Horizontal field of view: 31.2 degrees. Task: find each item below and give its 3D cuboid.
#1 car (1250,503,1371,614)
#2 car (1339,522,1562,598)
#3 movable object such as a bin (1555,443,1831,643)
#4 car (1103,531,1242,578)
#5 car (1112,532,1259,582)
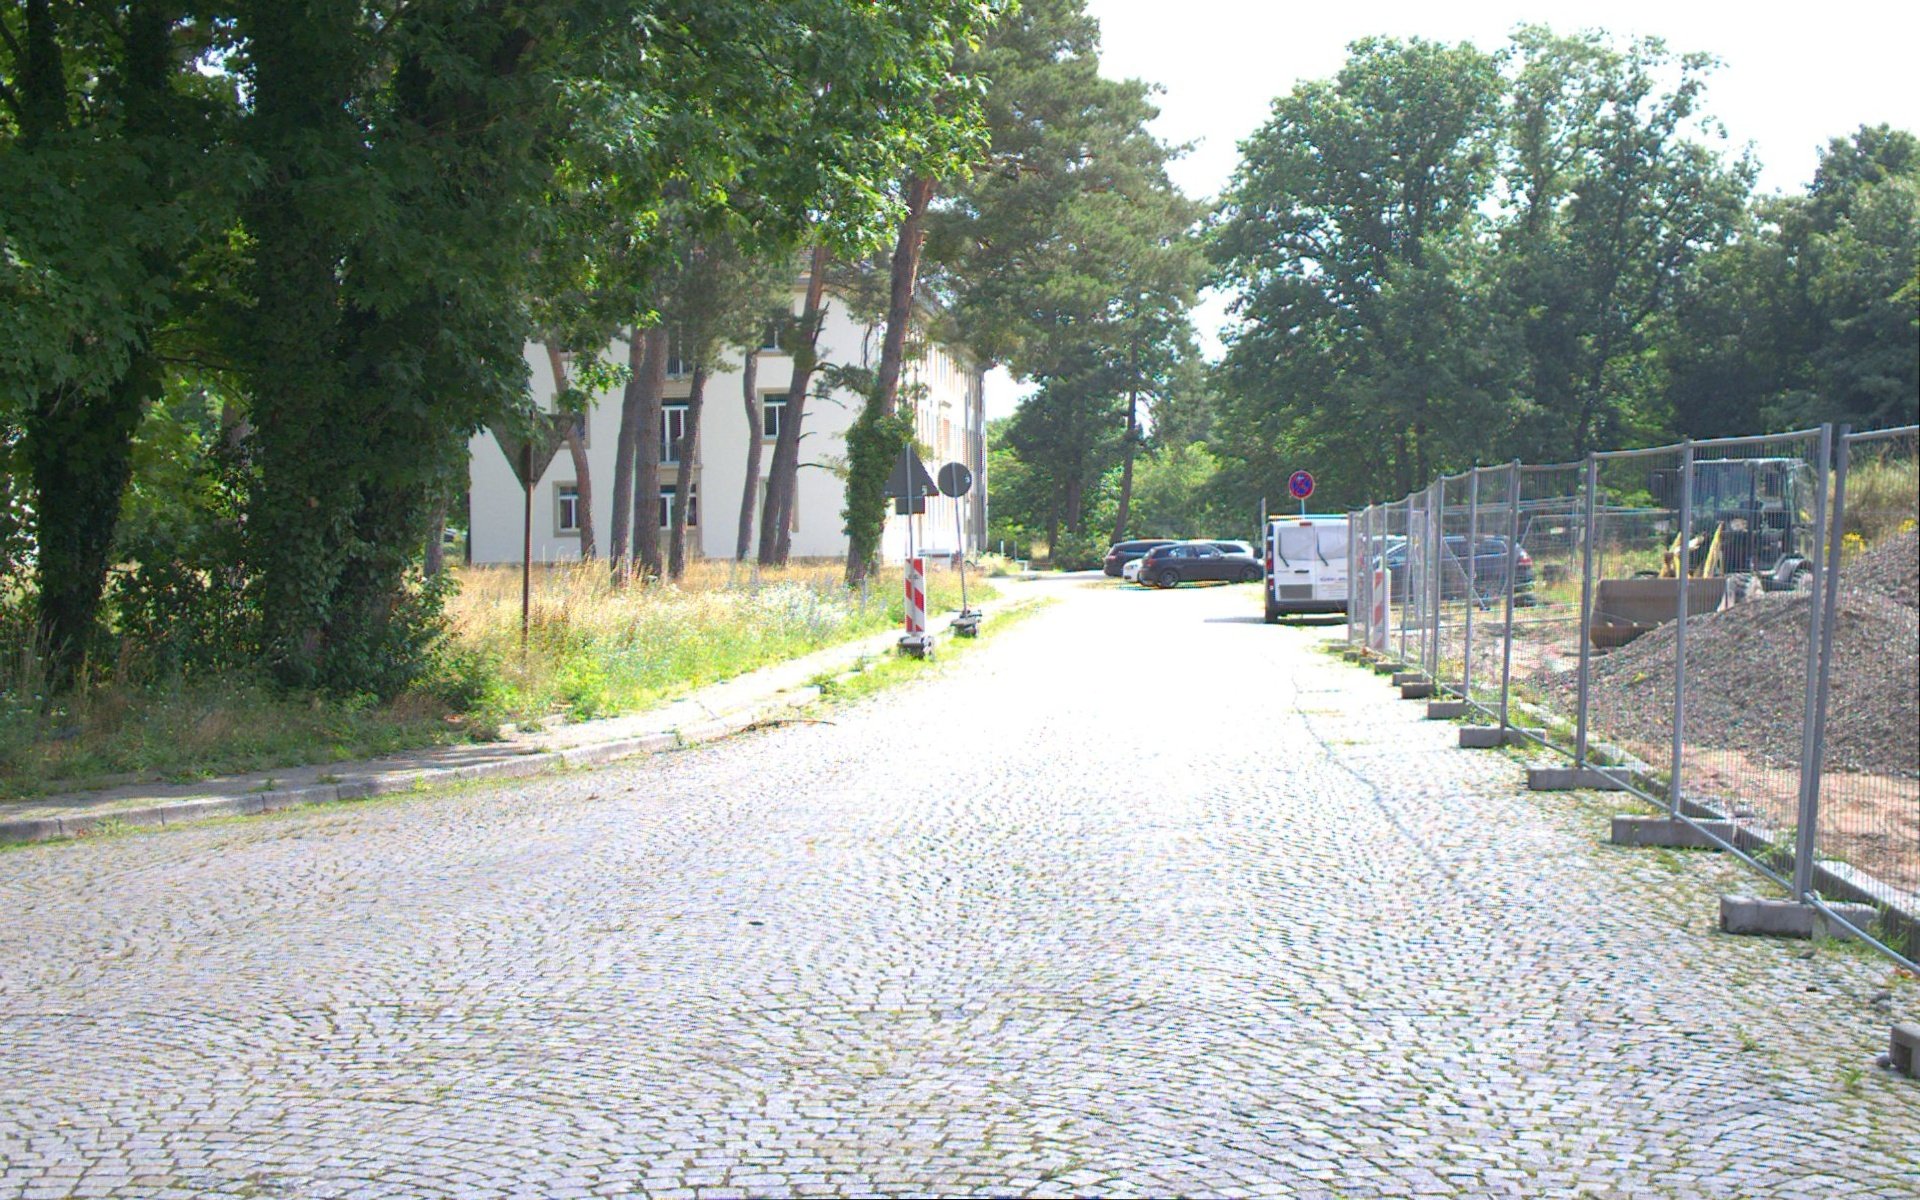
[{"bbox_3d":[6.619,-0.802,65.222,1.993,2.007,4.091,0,1,2],"label":"car"},{"bbox_3d":[10.086,-0.836,70.523,4.405,1.505,1.999,1,1,12],"label":"car"},{"bbox_3d":[10.060,-0.793,46.894,2.132,2.584,4.782,0,1,33],"label":"movable object such as a bin"},{"bbox_3d":[7.572,-1.622,122.687,4.779,1.635,2.000,-1,1,-2],"label":"car"},{"bbox_3d":[7.621,-1.470,116.280,4.779,1.635,2.000,-1,1,-2],"label":"car"}]
